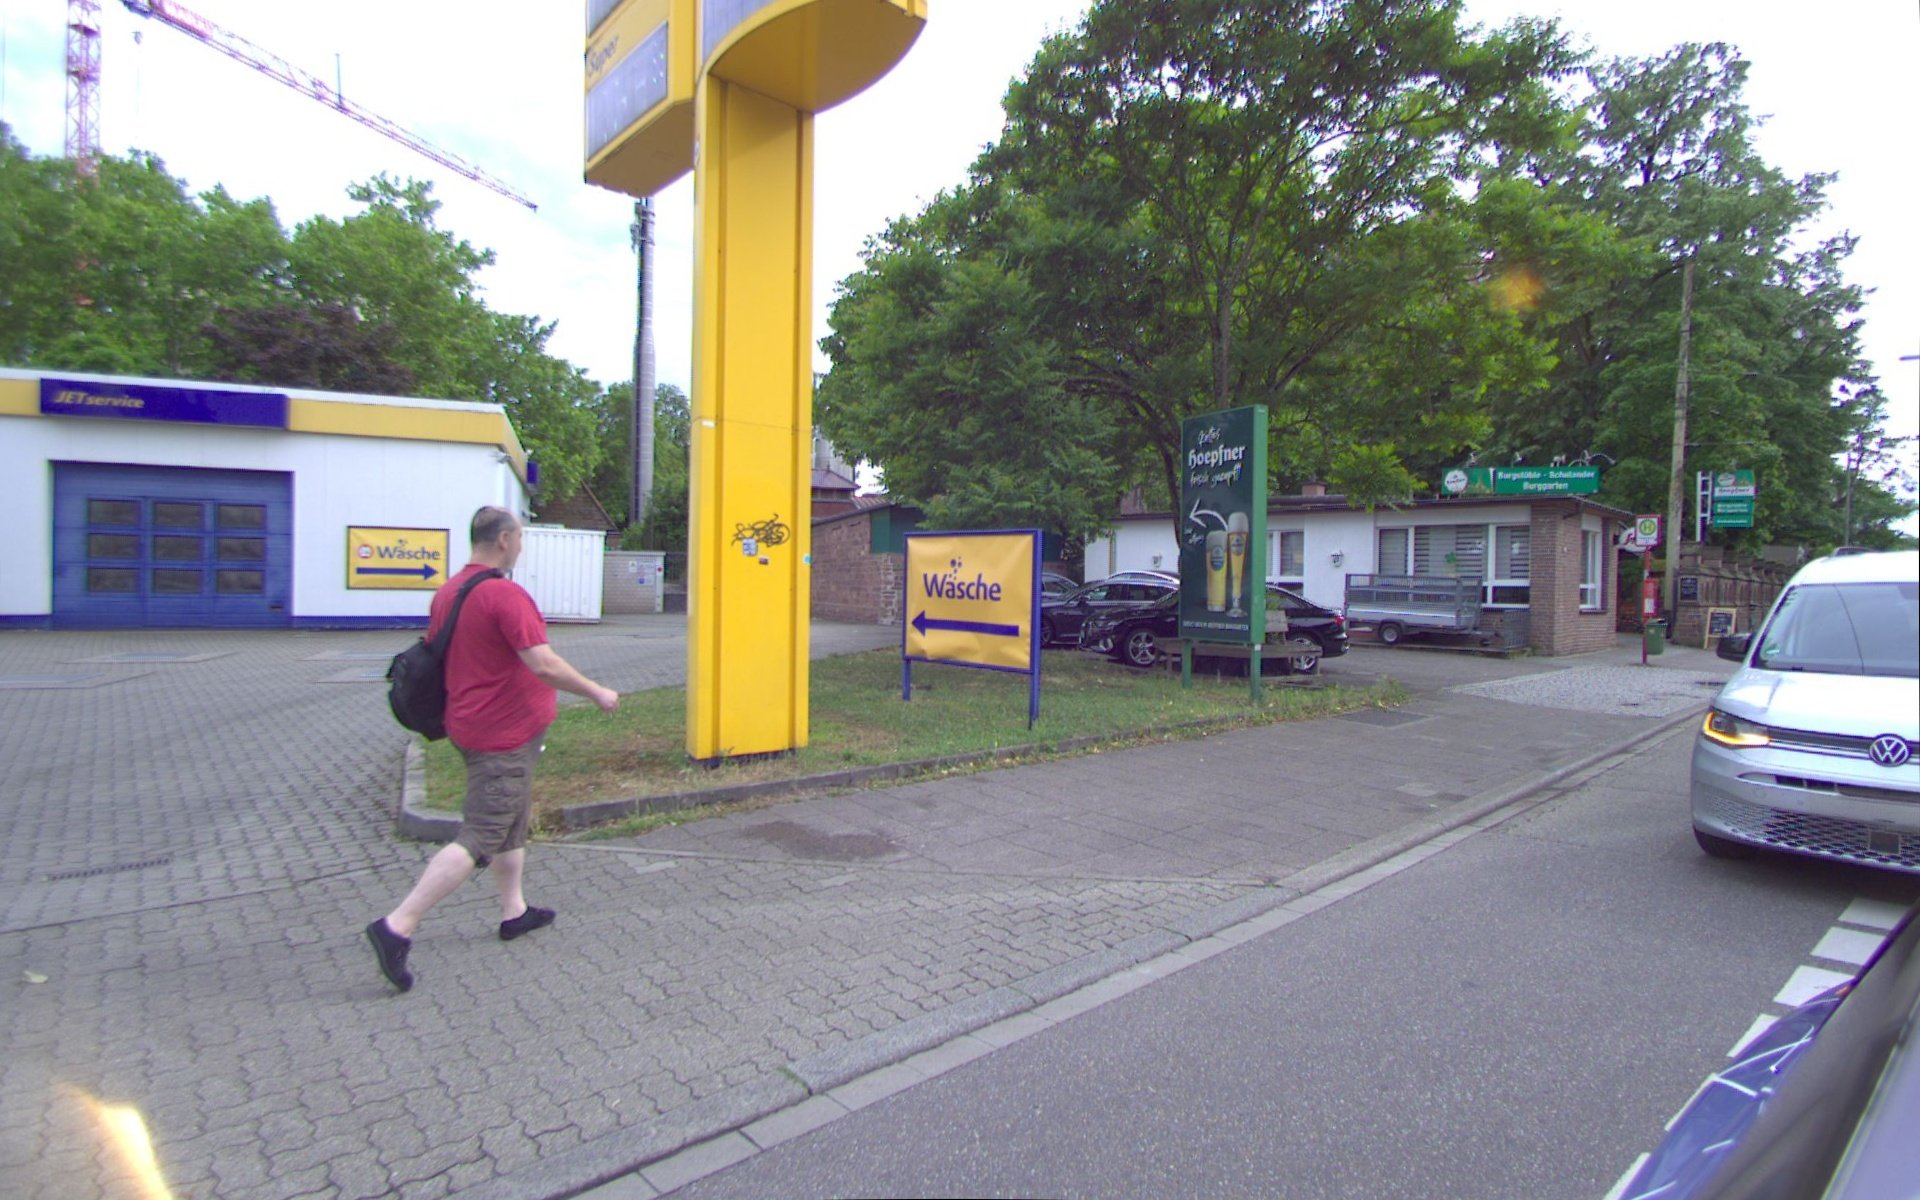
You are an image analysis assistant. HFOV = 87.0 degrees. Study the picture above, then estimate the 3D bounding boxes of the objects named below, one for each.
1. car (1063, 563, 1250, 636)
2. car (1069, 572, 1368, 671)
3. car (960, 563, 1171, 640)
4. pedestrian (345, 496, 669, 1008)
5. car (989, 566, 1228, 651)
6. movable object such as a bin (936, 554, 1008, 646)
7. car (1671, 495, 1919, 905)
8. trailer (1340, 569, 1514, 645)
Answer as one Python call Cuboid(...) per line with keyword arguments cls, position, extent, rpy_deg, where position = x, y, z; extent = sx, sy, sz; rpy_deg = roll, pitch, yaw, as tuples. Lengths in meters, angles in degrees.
Cuboid(cls="car", position=(4.847, -0.058, 25.506), extent=(1.955, 1.667, 4.434), rpy_deg=(0, 1, -39))
Cuboid(cls="car", position=(4.227, 0.317, 17.117), extent=(4.497, 1.425, 1.936), rpy_deg=(2, 1, 0))
Cuboid(cls="car", position=(2.315, 0.017, 22.994), extent=(4.401, 1.477, 1.988), rpy_deg=(2, 1, -5))
Cuboid(cls="pedestrian", position=(-1.837, 0.492, 4.099), extent=(0.970, 1.759, 0.849), rpy_deg=(4, 3, 39))
Cuboid(cls="car", position=(2.911, 0.142, 20.569), extent=(4.453, 1.444, 1.880), rpy_deg=(2, 3, -2))
Cuboid(cls="movable object such as a bin", position=(0.201, 0.000, 18.608), extent=(1.102, 1.533, 1.423), rpy_deg=(5, 0, -3))
Cuboid(cls="car", position=(6.131, 0.460, 6.101), extent=(4.849, 1.830, 1.849), rpy_deg=(1, 1, -41))
Cuboid(cls="trailer", position=(10.334, 0.099, 22.513), extent=(1.594, 1.558, 3.165), rpy_deg=(-1, 2, -43))
